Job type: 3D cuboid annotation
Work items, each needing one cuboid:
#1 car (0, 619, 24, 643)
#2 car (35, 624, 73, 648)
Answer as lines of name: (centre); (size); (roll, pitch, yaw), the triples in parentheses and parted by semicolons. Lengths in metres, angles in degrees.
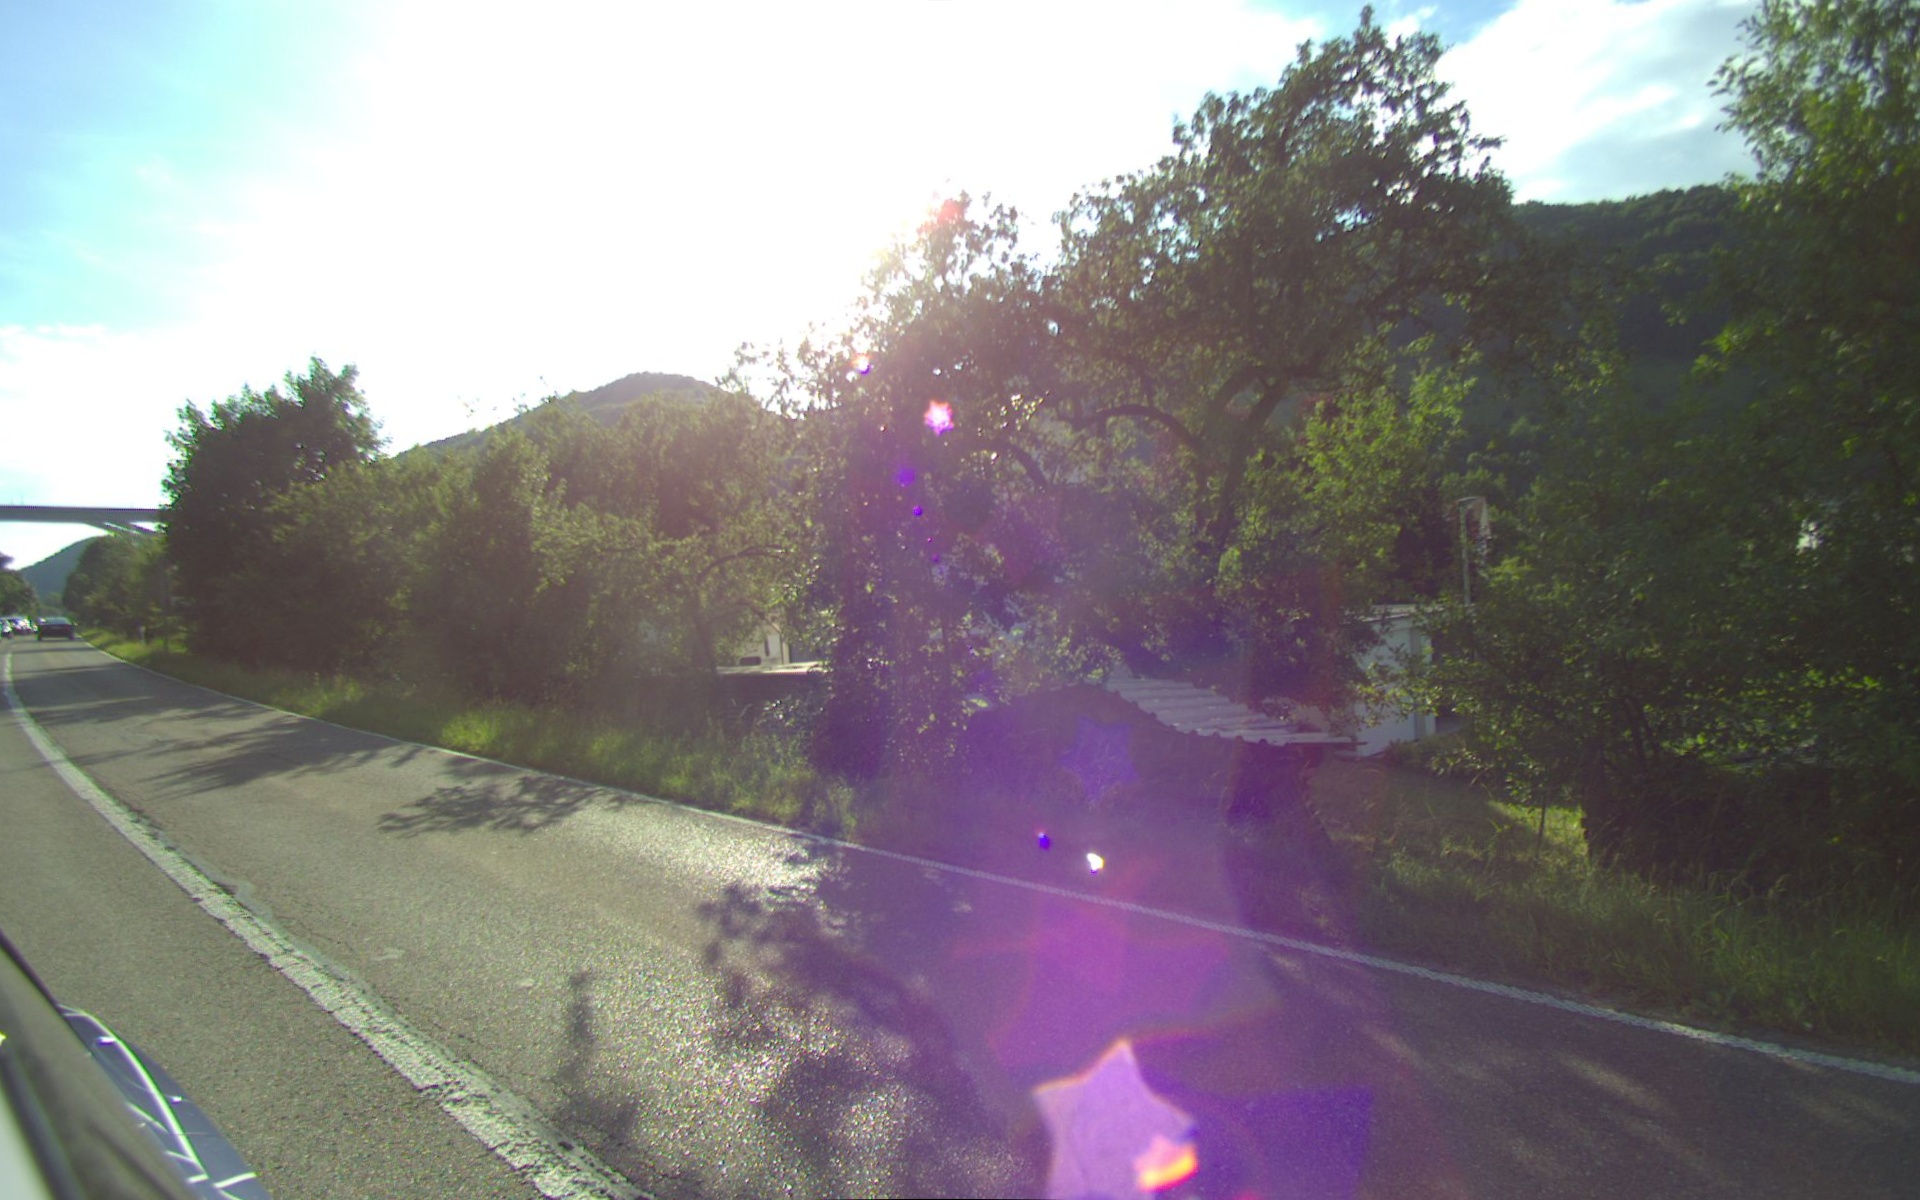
car: (-85.484, 2.778, 90.921); (1.970, 2.029, 4.003); (-1, 0, -44)
car: (-55.693, 2.207, 62.182); (1.575, 1.364, 4.206); (-1, 0, -44)
